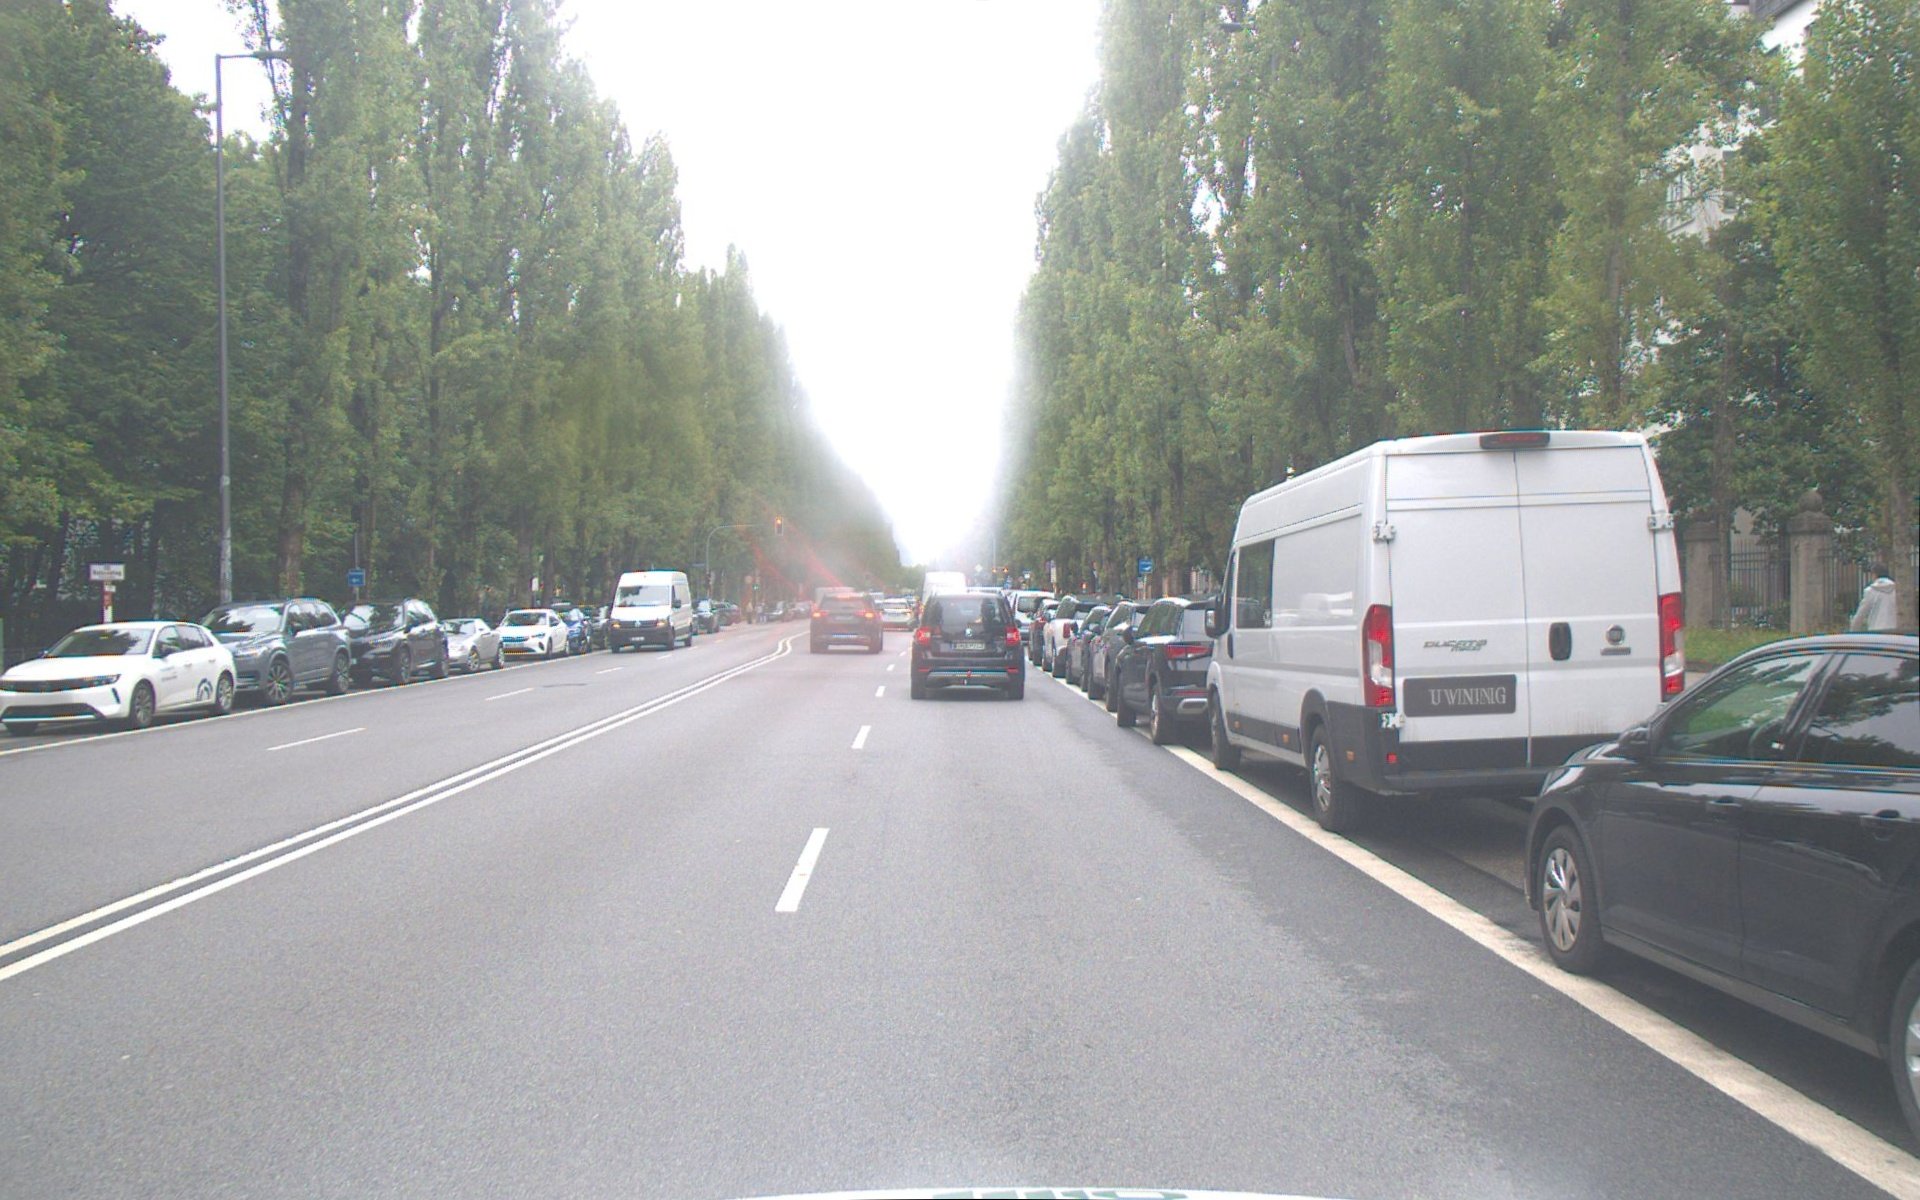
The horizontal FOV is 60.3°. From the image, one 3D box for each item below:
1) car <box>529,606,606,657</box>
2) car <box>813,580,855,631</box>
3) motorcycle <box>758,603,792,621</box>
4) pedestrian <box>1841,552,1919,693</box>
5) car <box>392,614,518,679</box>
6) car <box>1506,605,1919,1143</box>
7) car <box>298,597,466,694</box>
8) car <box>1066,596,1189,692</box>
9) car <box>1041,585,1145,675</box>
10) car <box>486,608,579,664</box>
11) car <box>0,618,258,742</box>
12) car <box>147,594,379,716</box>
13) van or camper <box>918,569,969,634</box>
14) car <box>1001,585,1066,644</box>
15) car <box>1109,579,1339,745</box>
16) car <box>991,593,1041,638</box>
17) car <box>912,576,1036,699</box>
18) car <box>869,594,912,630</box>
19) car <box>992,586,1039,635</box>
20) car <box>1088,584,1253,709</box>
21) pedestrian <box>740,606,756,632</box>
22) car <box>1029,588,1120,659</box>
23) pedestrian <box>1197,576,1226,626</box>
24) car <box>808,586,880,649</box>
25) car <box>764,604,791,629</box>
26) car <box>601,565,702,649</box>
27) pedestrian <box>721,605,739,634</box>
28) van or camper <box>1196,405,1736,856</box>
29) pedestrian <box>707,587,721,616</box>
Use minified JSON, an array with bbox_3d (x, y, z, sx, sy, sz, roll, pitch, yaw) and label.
[{"bbox_3d":[-12.593,0.993,53.286,1.675,1.476,3.584,-4,0,-2],"label":"car"},{"bbox_3d":[-5.468,0.236,72.266,1.746,2.148,4.022,-1,0,-4],"label":"car"},{"bbox_3d":[-13.142,0.844,117.538,2.315,1.292,0.930,-1,0,-1],"label":"motorcycle"},{"bbox_3d":[12.179,0.289,21.645,0.779,1.799,0.895,-1,0,-2],"label":"pedestrian"},{"bbox_3d":[-12.252,1.090,40.372,1.789,1.357,4.232,-3,0,-1],"label":"car"},{"bbox_3d":[3.410,0.759,5.606,1.642,1.445,3.998,-1,0,-2],"label":"car"},{"bbox_3d":[-12.050,0.889,34.848,1.902,1.798,4.893,-3,0,-2],"label":"car"},{"bbox_3d":[2.893,0.717,29.376,1.668,1.546,4.294,-1,0,-1],"label":"car"},{"bbox_3d":[2.686,0.566,34.303,1.707,1.705,4.579,-1,0,-1],"label":"car"},{"bbox_3d":[-12.610,1.033,49.071,1.735,1.477,4.231,-3,0,-2],"label":"car"},{"bbox_3d":[-11.800,1.063,23.686,1.670,1.484,4.271,-3,0,-1],"label":"car"},{"bbox_3d":[-12.024,0.876,28.980,1.871,1.820,5.178,-3,0,-1],"label":"car"},{"bbox_3d":[-0.695,0.047,68.236,1.936,2.593,4.023,-1,0,-3],"label":"van or camper"},{"bbox_3d":[2.455,0.473,56.435,1.814,1.914,4.166,-1,0,-3],"label":"car"},{"bbox_3d":[2.920,0.625,19.234,1.749,1.677,4.415,-1,0,-3],"label":"car"},{"bbox_3d":[2.126,0.577,63.593,1.705,1.620,4.211,-1,0,-1],"label":"car"},{"bbox_3d":[0.181,0.561,26.665,1.818,1.801,3.999,1,0,-1],"label":"car"},{"bbox_3d":[-3.234,0.533,77.411,1.953,1.588,3.999,-1,1,-2],"label":"car"},{"bbox_3d":[2.289,0.413,69.047,1.700,1.928,4.024,-1,0,-1],"label":"car"},{"bbox_3d":[2.985,0.603,24.350,1.747,1.646,4.637,-1,0,-1],"label":"car"},{"bbox_3d":[-14.614,1.303,113.972,0.950,1.798,0.678,-1,0,-23],"label":"pedestrian"},{"bbox_3d":[2.687,0.516,39.695,1.842,1.567,4.464,-1,0,0],"label":"car"},{"bbox_3d":[8.995,0.039,59.189,0.836,1.747,0.867,-2,0,-1],"label":"pedestrian"},{"bbox_3d":[-3.183,0.444,45.936,1.745,1.648,4.024,1,0,-1],"label":"car"},{"bbox_3d":[-13.880,1.245,125.811,1.654,1.814,3.774,-1,0,-1],"label":"car"},{"bbox_3d":[-10.183,0.201,55.179,2.183,2.526,6.756,-3,0,-2],"label":"car"},{"bbox_3d":[-14.197,1.199,102.209,0.950,1.822,0.678,-1,0,-23],"label":"pedestrian"},{"bbox_3d":[3.395,0.168,12.795,2.095,2.584,6.416,-1,0,-1],"label":"van or camper"},{"bbox_3d":[-13.684,0.078,92.019,0.647,1.605,0.530,-1,0,0],"label":"pedestrian"}]
